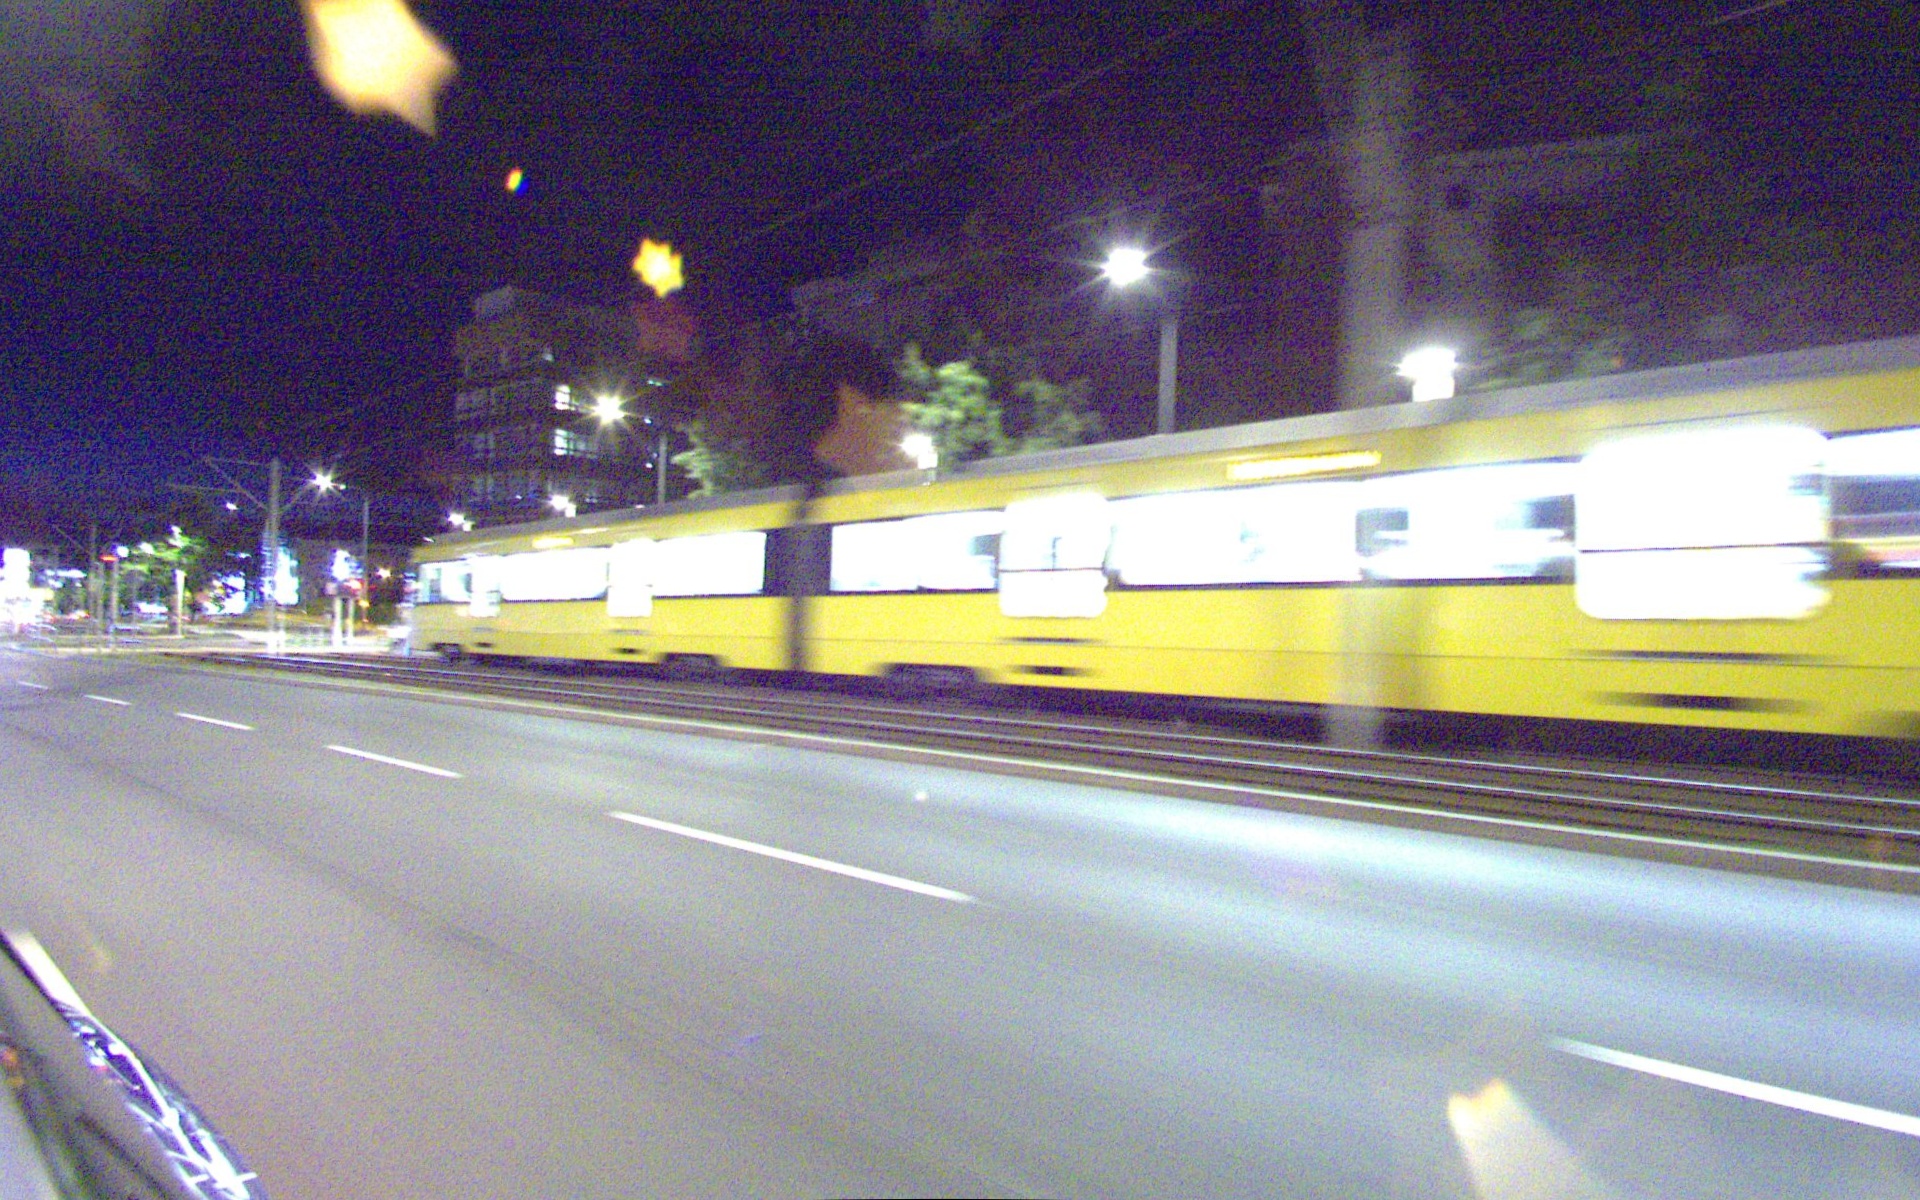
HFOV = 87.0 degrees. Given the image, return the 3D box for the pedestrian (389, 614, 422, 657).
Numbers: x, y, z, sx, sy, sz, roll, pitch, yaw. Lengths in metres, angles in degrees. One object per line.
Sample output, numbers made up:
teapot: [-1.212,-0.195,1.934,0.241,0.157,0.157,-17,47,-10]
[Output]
pedestrian: [-22.322,1.436,40.738,1.056,1.701,0.809,-1,-3,42]

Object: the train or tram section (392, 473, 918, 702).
train or tram section: [-8.860,-0.086,24.678,19.359,3.875,2.709,-1,-1,42]

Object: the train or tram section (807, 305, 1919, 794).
train or tram section: [5.263,-0.336,11.869,18.664,3.856,2.729,-1,-1,42]
